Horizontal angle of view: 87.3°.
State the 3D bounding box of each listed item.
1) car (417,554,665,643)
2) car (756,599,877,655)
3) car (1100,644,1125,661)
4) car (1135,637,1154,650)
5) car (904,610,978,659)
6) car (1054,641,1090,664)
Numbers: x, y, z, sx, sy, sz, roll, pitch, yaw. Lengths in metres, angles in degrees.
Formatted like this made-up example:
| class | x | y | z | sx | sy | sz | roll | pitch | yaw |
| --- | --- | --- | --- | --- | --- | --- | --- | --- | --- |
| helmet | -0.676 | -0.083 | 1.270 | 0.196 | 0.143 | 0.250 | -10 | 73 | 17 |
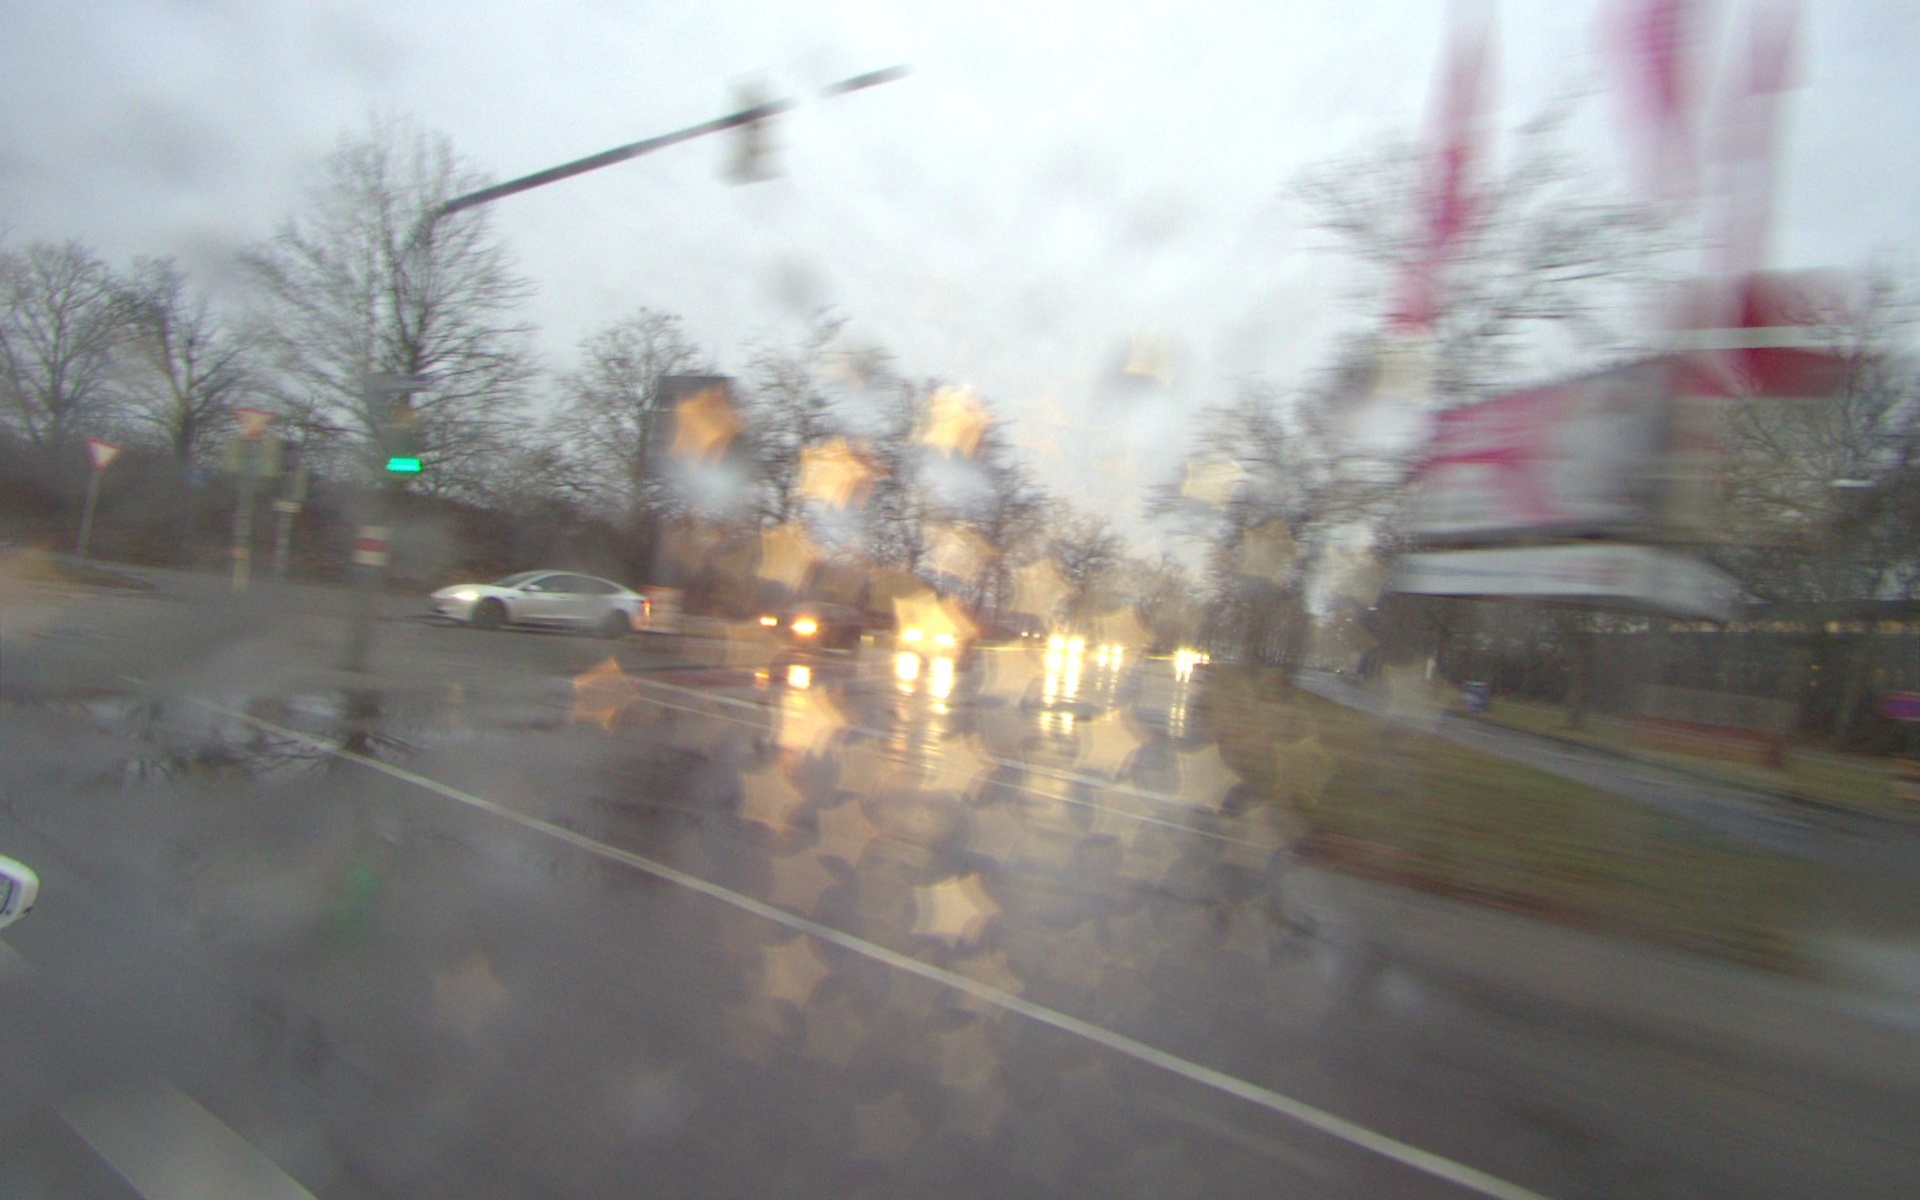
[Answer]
| class | x | y | z | sx | sy | sz | roll | pitch | yaw |
| --- | --- | --- | --- | --- | --- | --- | --- | --- | --- |
| car | -9.324 | 0.010 | 22.655 | 4.727 | 1.392 | 1.860 | 8 | -2 | -44 |
| car | -4.178 | 0.850 | 29.914 | 1.607 | 1.325 | 4.000 | 6 | -1 | 23 |
| car | 14.457 | 4.950 | 95.079 | 1.627 | 1.361 | 3.891 | 7 | -1 | 18 |
| car | 22.568 | 5.364 | 122.912 | 1.627 | 1.361 | 3.891 | 7 | -1 | 18 |
| car | -0.704 | 1.428 | 40.350 | 1.627 | 1.655 | 3.891 | 7 | -1 | 18 |
| car | 8.069 | 3.785 | 72.256 | 1.627 | 1.361 | 3.891 | 7 | -1 | 18 |
